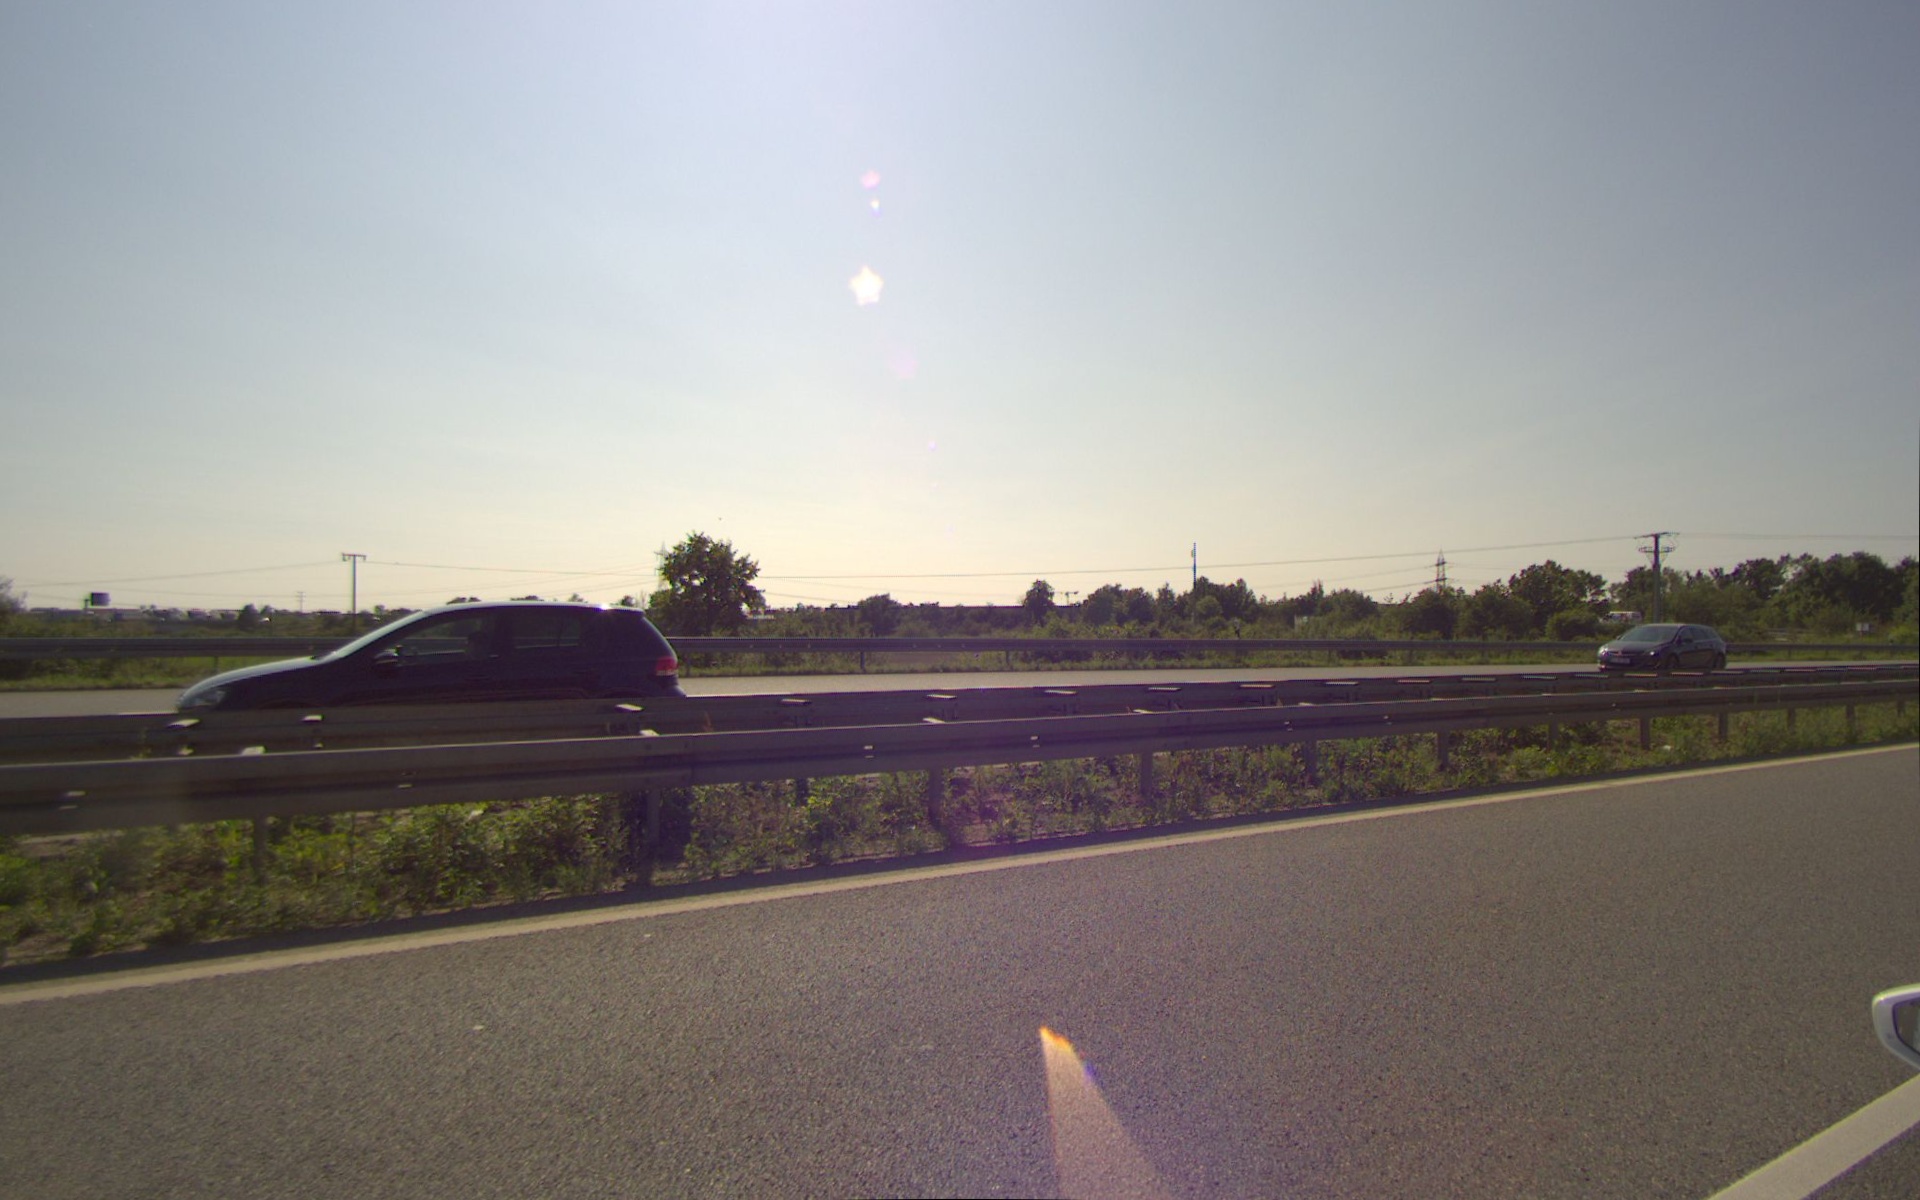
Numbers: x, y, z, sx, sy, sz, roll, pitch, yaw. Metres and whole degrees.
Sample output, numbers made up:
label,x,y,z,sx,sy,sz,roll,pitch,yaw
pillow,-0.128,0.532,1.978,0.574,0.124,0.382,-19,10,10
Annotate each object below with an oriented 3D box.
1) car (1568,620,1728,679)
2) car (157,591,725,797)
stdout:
label,x,y,z,sx,sy,sz,roll,pitch,yaw
car,19.376,1.346,28.249,4.879,1.454,1.858,1,1,-31
car,-4.546,0.717,9.314,4.272,1.493,1.806,1,1,-30
